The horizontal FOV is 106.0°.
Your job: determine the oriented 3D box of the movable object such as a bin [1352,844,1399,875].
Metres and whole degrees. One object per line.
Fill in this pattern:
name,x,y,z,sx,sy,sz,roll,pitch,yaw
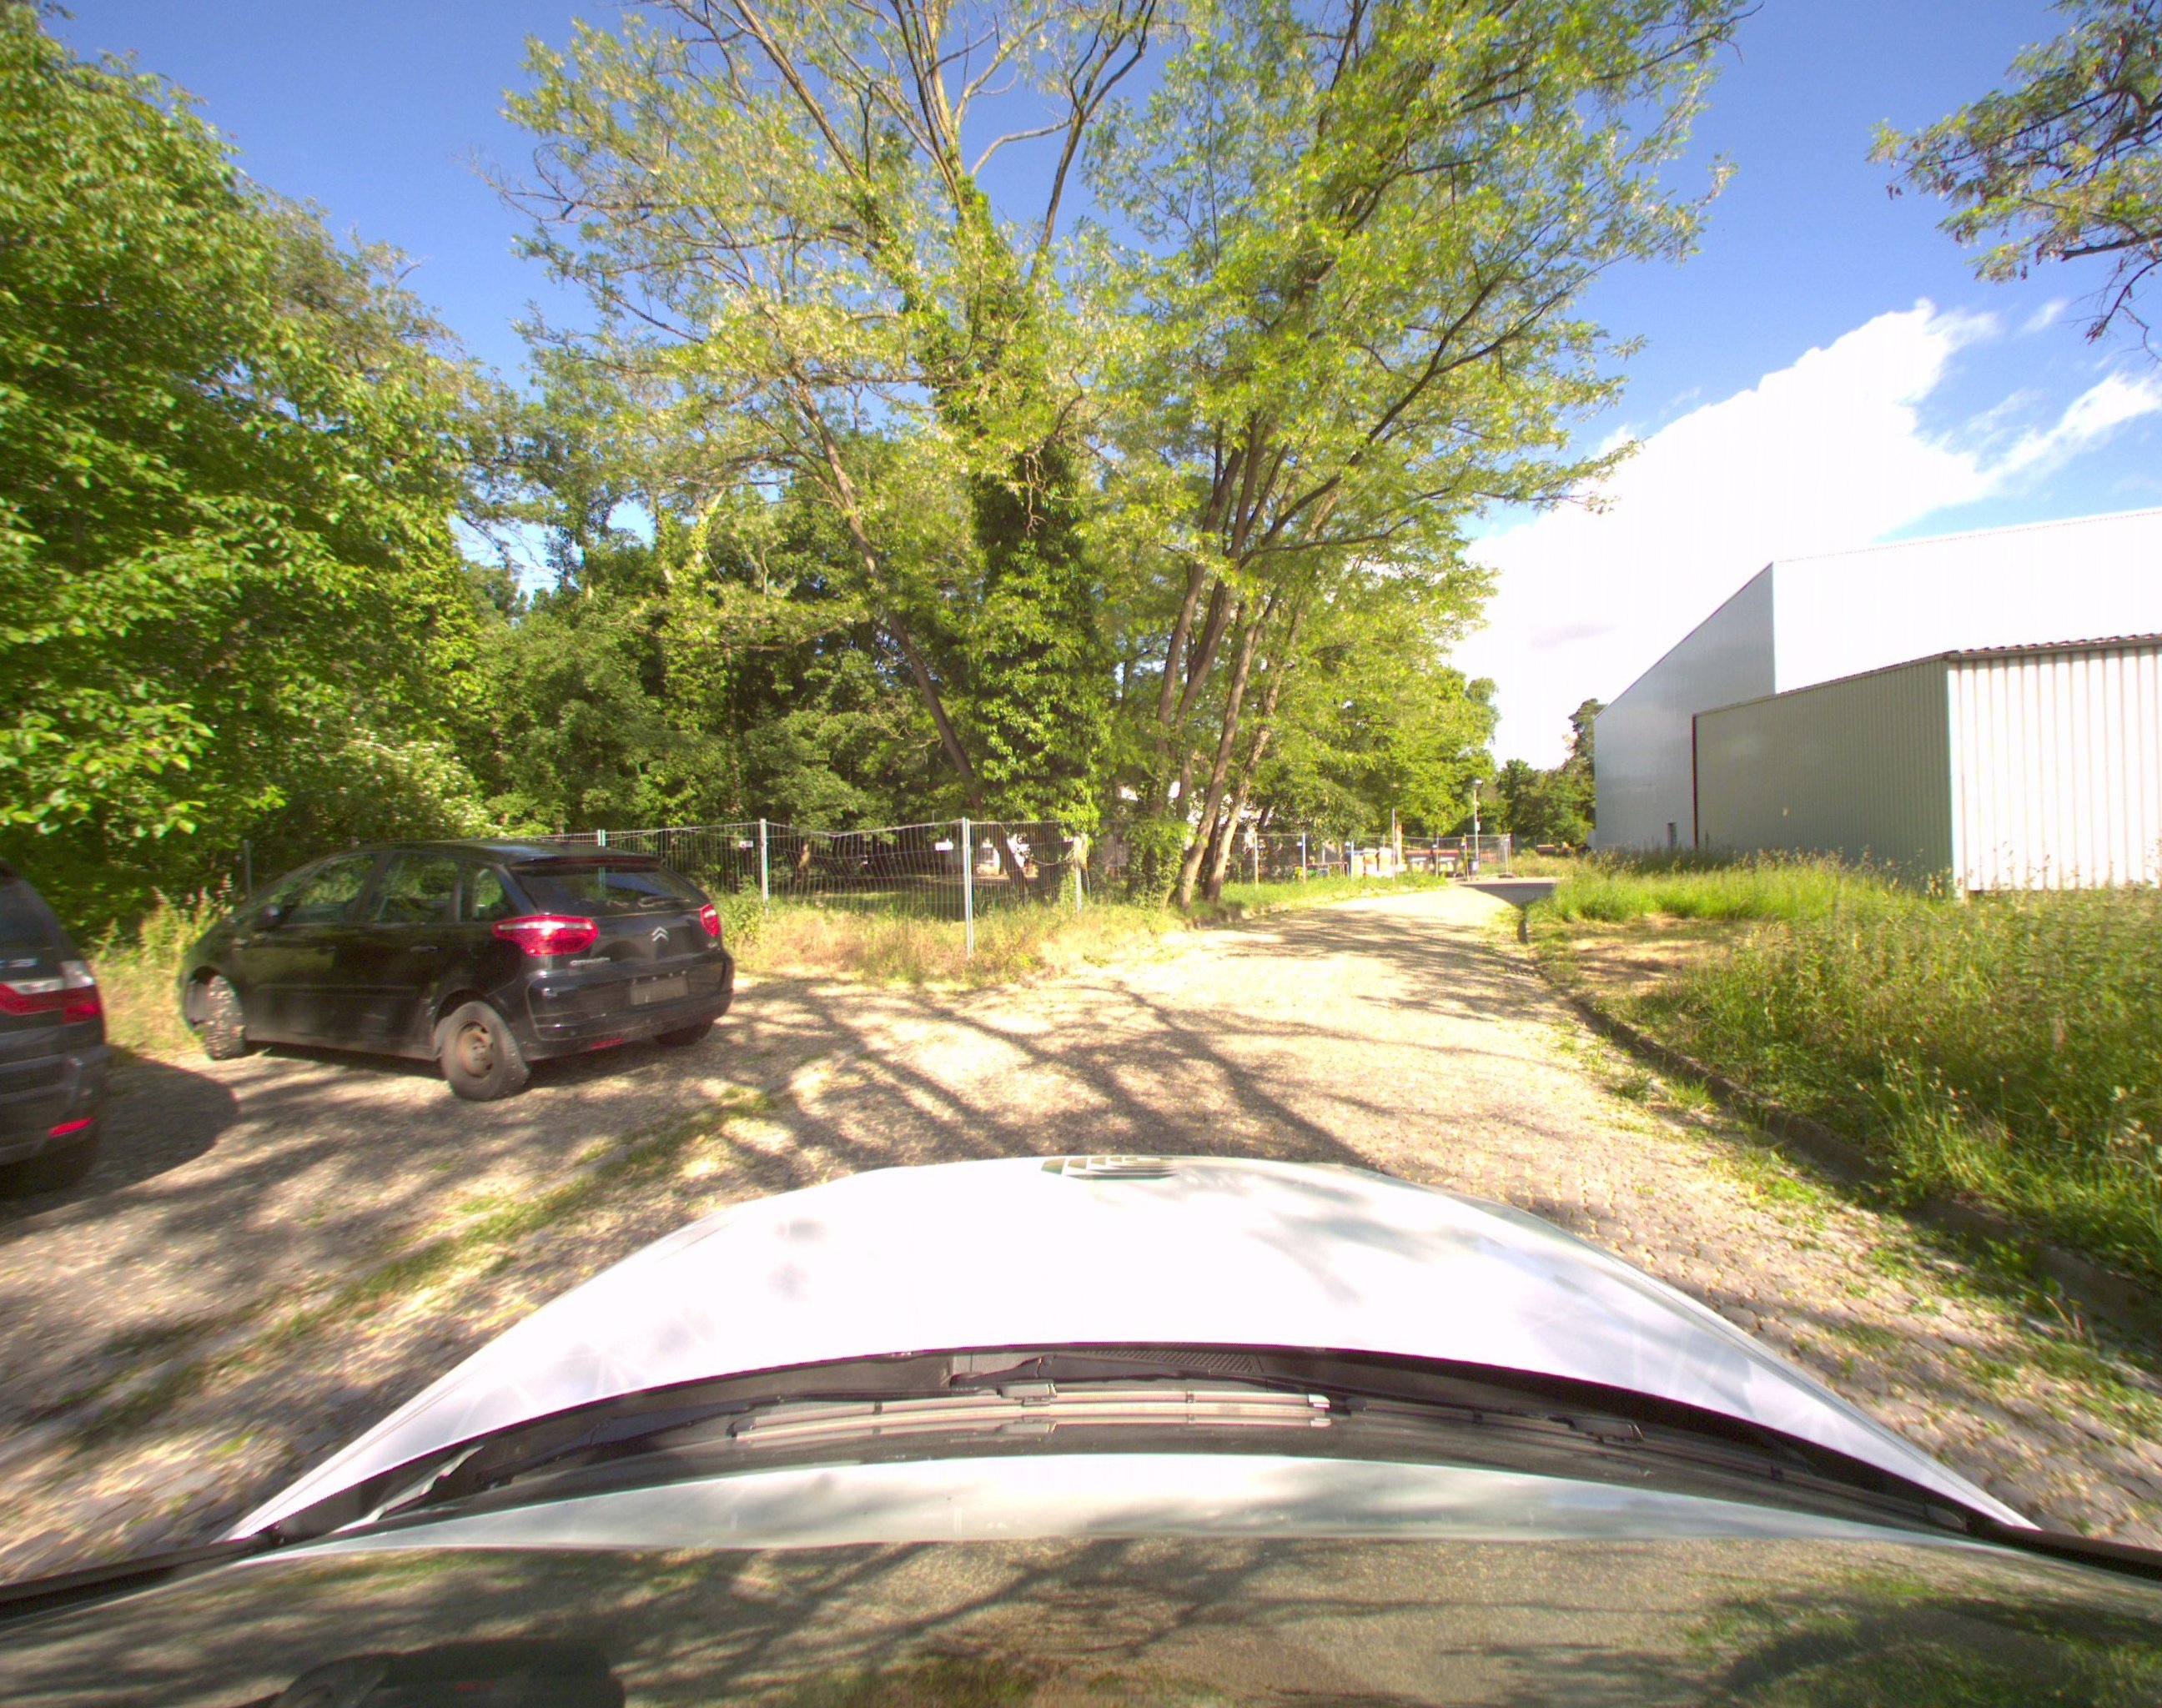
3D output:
movable object such as a bin,15.353,0.289,42.496,2.269,1.591,1.180,-1,0,18

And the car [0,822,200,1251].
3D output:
car,-6.217,0.694,3.620,4.140,1.656,1.828,0,1,23

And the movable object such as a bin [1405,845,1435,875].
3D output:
movable object such as a bin,17.437,0.305,41.904,1.327,1.484,0.811,-1,0,18

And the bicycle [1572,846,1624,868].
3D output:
bicycle,31.940,0.179,50.351,2.605,1.266,1.148,-1,0,28

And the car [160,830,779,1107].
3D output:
car,-4.793,0.674,6.478,4.252,1.652,1.802,1,1,18

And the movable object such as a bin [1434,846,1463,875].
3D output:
movable object such as a bin,18.621,0.308,41.271,1.234,1.444,0.706,-1,0,18

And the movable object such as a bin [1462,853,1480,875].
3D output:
movable object such as a bin,19.569,0.511,40.846,0.729,1.097,0.824,-1,0,28
